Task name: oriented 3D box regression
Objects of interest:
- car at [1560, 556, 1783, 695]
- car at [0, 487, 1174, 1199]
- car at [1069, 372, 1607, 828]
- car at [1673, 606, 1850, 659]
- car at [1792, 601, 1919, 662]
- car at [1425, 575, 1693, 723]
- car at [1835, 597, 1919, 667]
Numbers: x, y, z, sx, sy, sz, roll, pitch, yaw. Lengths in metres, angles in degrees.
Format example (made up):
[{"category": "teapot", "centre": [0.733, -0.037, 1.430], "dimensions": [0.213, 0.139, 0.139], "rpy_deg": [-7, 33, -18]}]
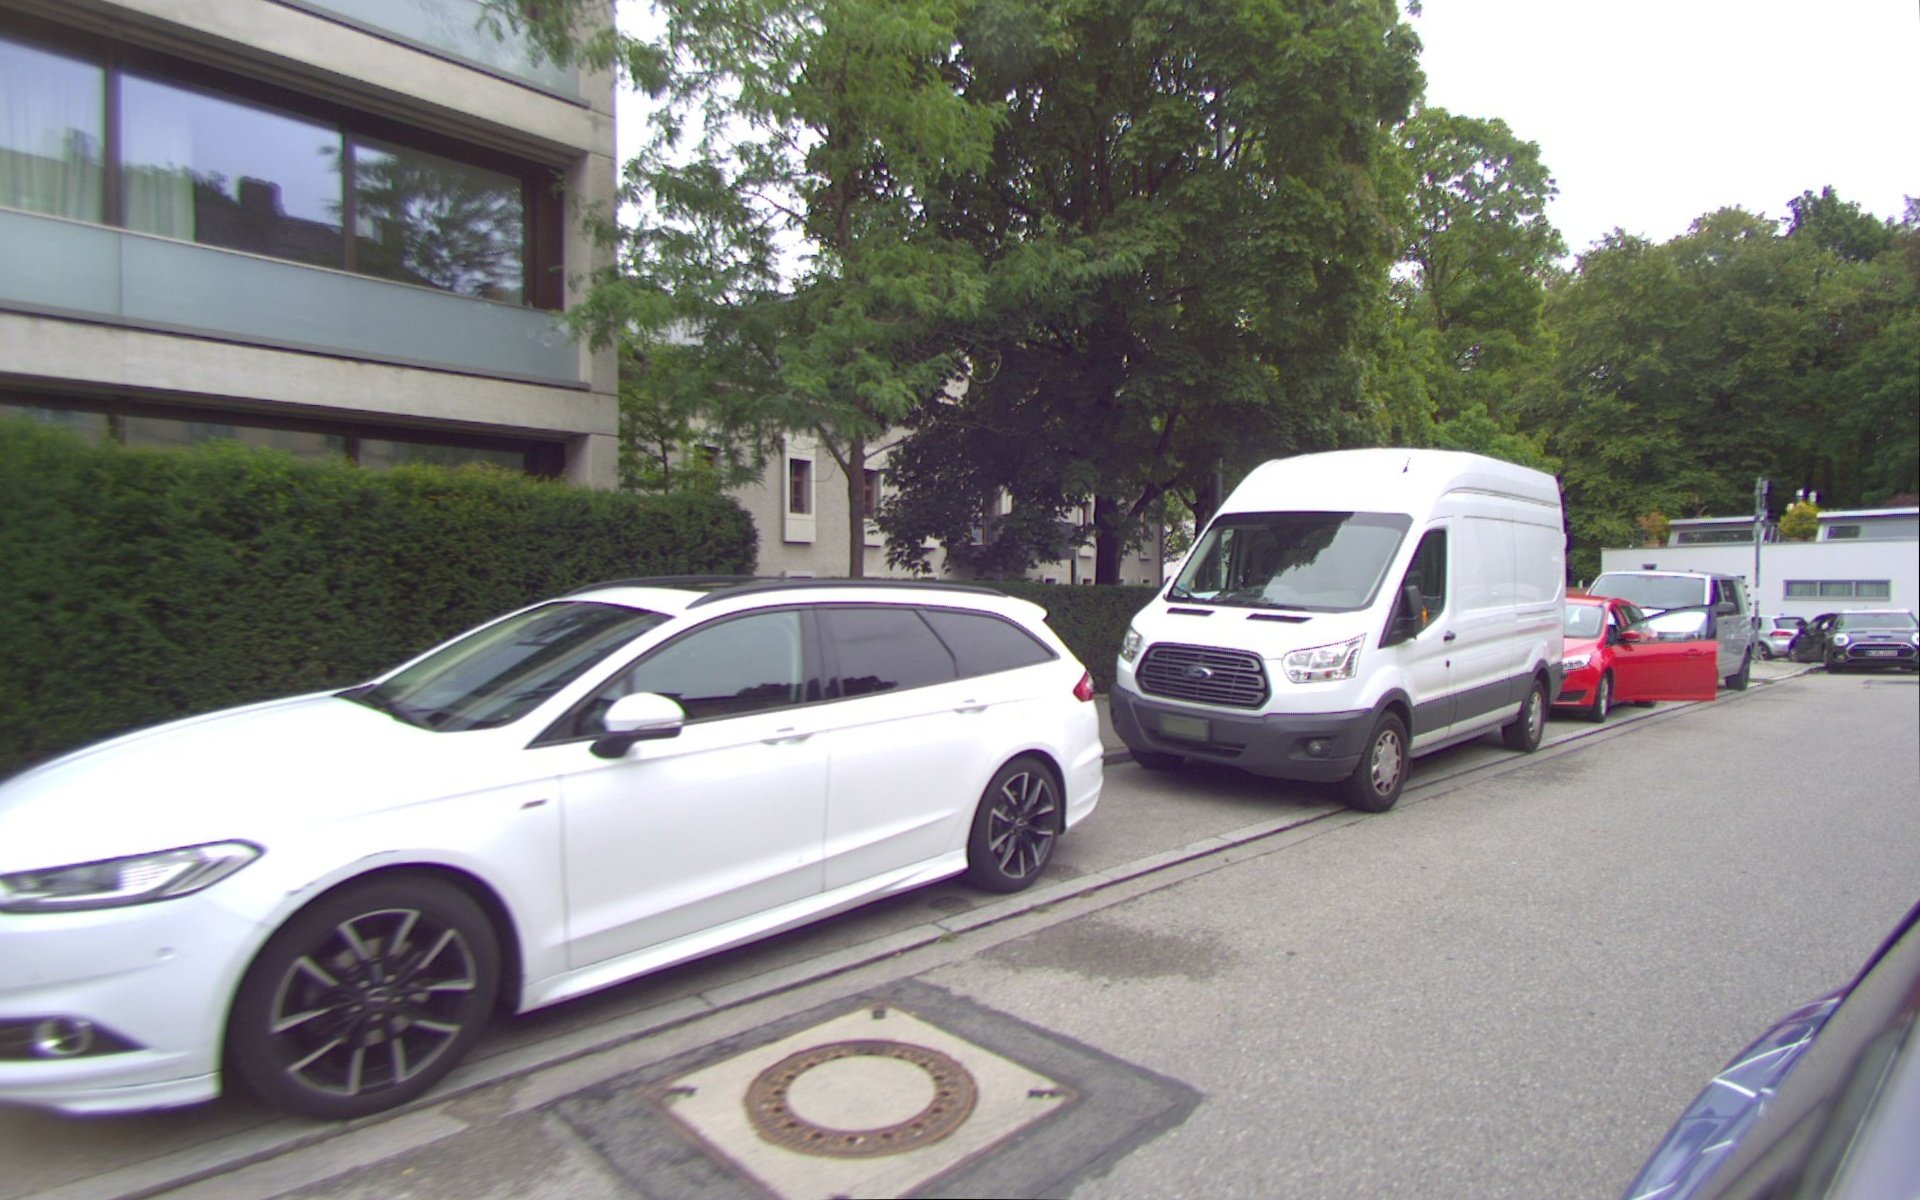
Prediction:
[{"category": "car", "centre": [11.841, 0.343, 16.692], "dimensions": [4.985, 1.928, 1.938], "rpy_deg": [0, 2, -43]}, {"category": "car", "centre": [-1.194, 0.516, 4.477], "dimensions": [1.871, 1.589, 4.923], "rpy_deg": [4, 2, 43]}, {"category": "car", "centre": [3.691, -0.034, 8.911], "dimensions": [2.081, 2.719, 5.989], "rpy_deg": [3, 2, 45]}, {"category": "car", "centre": [24.542, 0.993, 31.202], "dimensions": [1.901, 1.465, 4.020], "rpy_deg": [2, -2, -9]}, {"category": "car", "centre": [23.574, 0.850, 26.439], "dimensions": [1.878, 1.465, 3.977], "rpy_deg": [-2, -3, 26]}, {"category": "car", "centre": [7.990, 0.520, 13.276], "dimensions": [1.872, 1.525, 4.759], "rpy_deg": [4, 3, 45]}, {"category": "car", "centre": [21.086, 0.717, 22.836], "dimensions": [1.888, 1.465, 4.206], "rpy_deg": [-2, -3, 40]}]
